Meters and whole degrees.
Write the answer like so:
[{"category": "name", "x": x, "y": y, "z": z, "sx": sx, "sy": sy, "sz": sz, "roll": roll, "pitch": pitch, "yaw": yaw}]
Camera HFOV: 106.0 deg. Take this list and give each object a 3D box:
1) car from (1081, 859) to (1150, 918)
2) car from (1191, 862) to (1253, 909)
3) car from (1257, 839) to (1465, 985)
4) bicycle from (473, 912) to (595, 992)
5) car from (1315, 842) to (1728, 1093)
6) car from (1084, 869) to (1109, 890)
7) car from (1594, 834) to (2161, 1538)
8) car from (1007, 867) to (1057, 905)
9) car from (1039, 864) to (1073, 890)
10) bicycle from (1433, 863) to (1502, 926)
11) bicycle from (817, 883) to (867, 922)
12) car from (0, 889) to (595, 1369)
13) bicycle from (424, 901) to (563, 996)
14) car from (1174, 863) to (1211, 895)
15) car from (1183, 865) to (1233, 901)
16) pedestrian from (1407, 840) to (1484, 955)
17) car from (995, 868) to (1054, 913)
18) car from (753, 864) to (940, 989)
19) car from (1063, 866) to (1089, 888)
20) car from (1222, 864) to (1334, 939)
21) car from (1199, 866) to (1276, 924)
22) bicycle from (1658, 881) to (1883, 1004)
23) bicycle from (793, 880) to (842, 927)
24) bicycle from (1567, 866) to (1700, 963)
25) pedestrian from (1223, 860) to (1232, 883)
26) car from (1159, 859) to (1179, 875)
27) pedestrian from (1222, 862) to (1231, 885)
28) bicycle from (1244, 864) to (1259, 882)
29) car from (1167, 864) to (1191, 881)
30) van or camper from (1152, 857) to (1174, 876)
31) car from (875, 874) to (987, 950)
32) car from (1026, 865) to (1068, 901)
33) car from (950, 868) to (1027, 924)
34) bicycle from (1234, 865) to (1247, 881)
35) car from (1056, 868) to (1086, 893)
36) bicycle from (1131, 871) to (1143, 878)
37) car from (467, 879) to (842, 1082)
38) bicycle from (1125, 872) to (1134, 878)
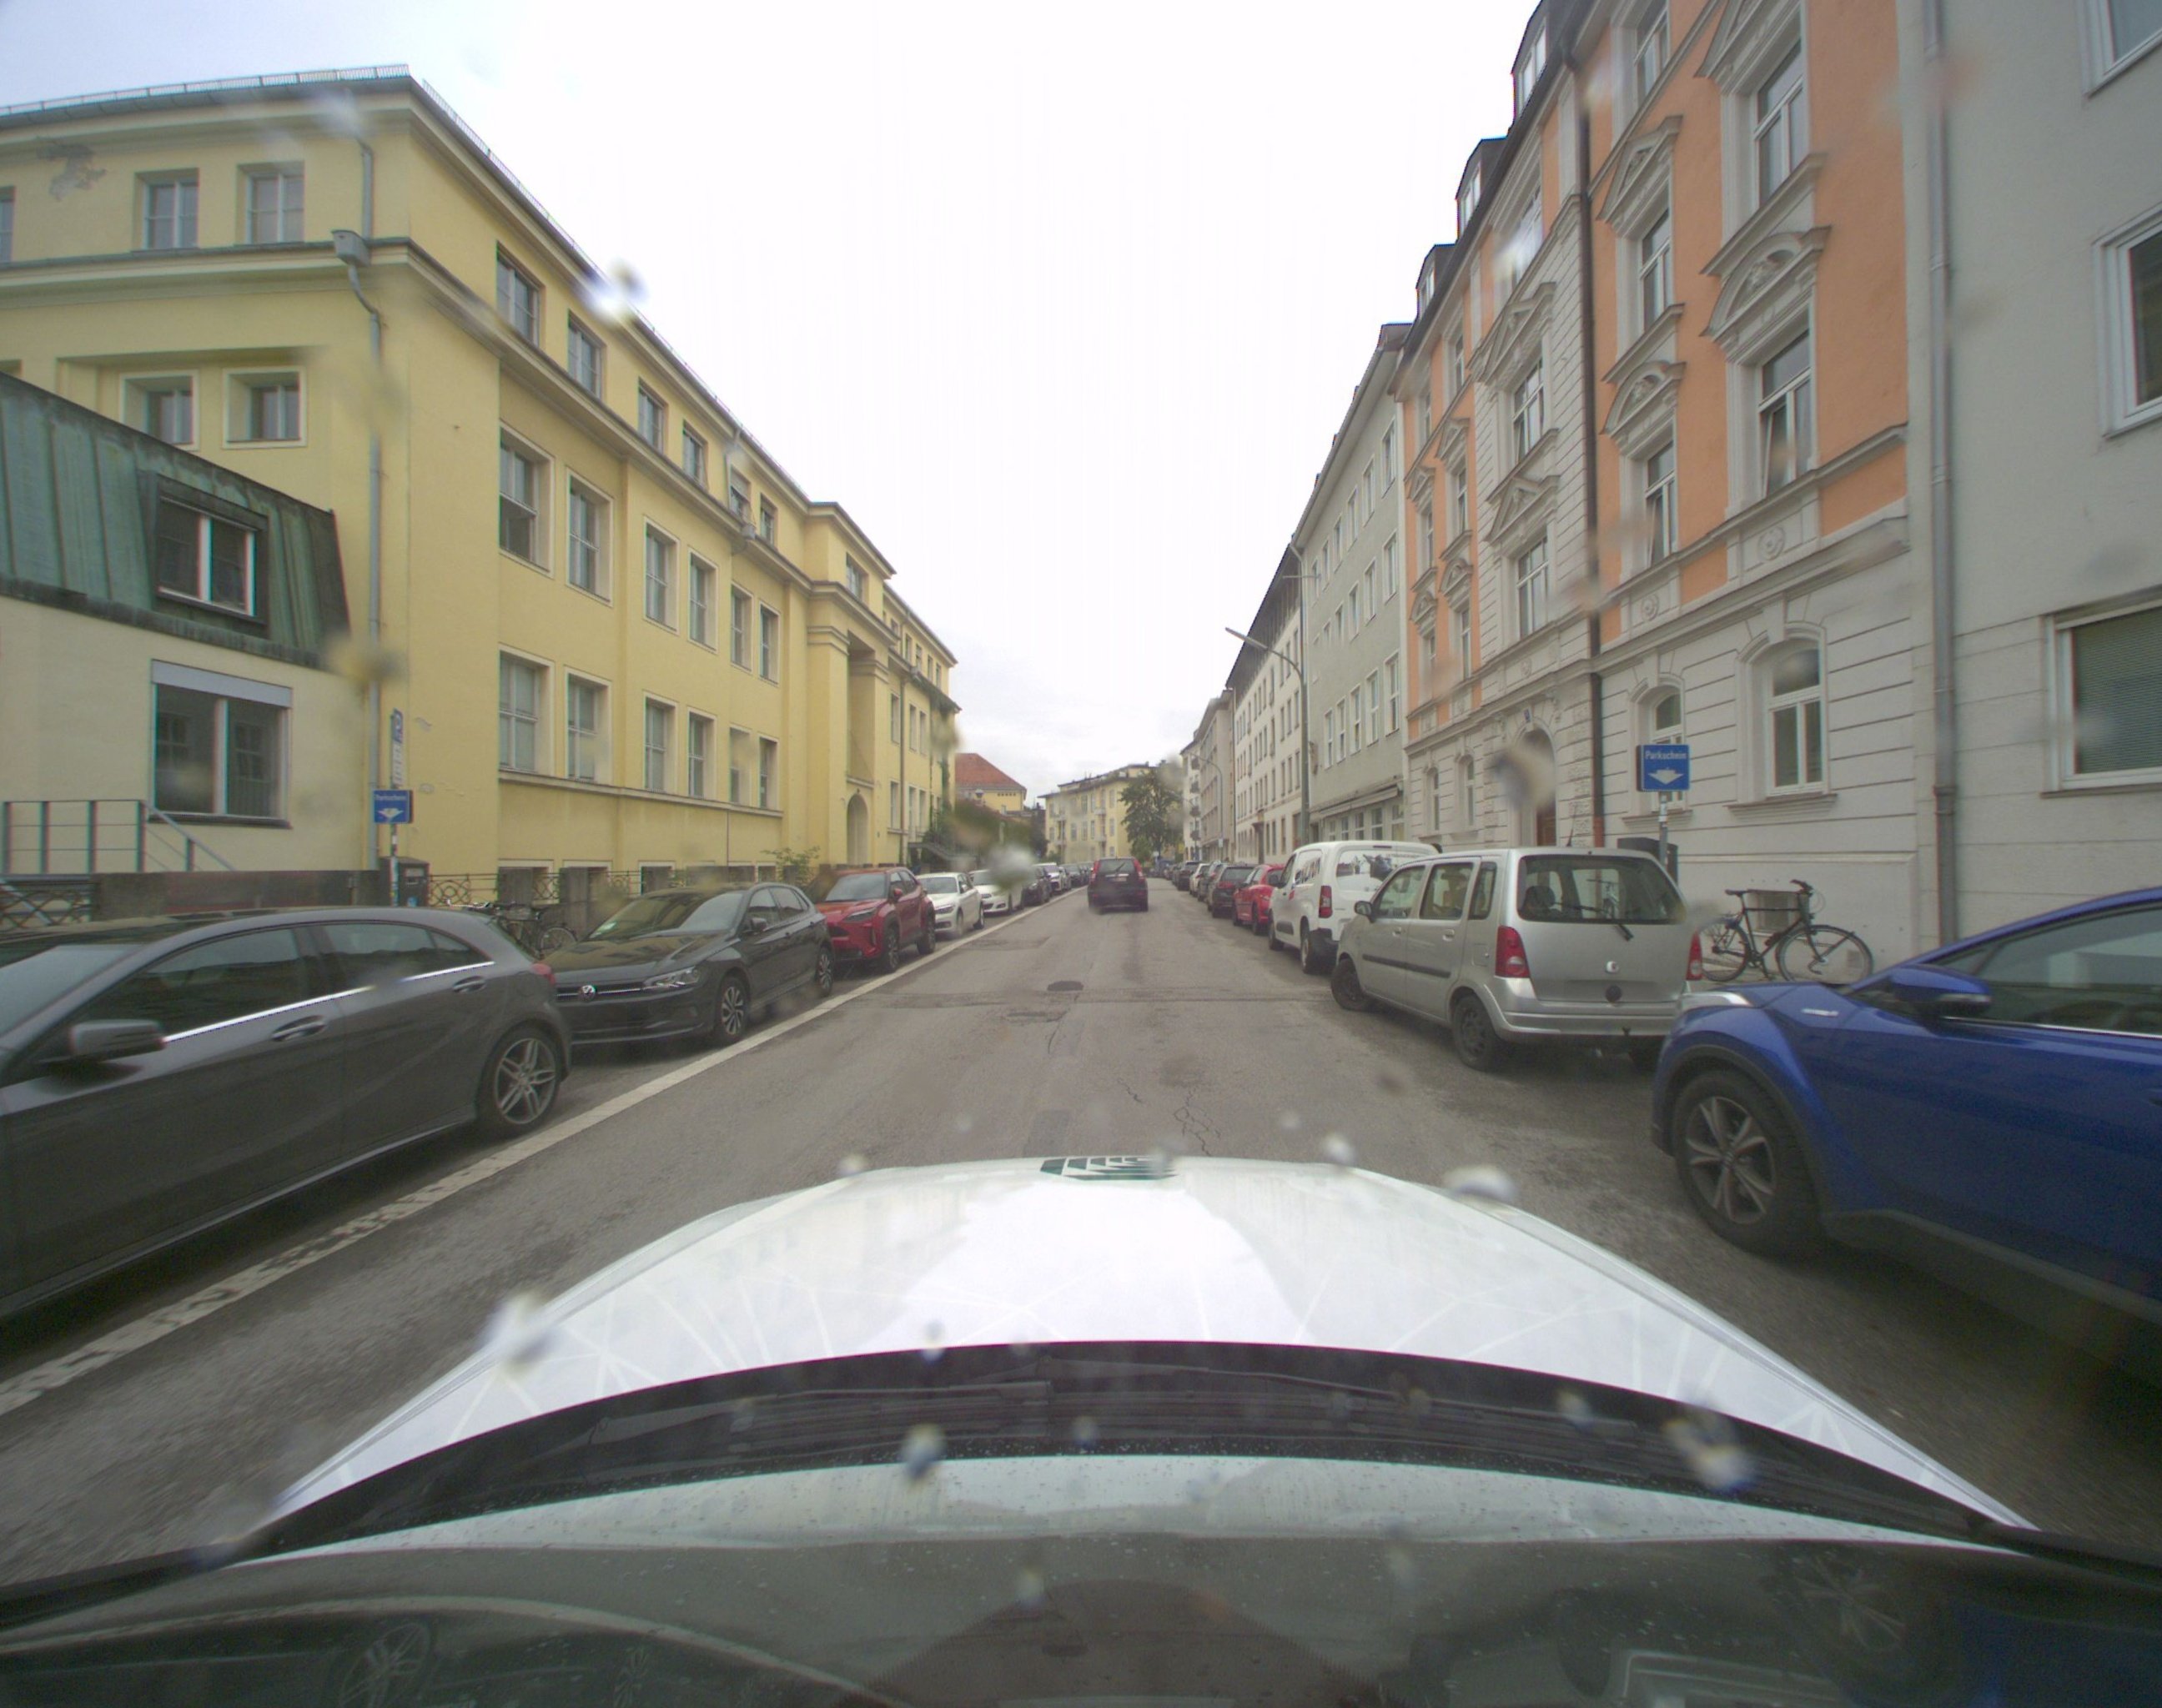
[{"category": "car", "x": 1.102, "y": 1.026, "z": 25.818, "sx": 1.987, "sy": 1.694, "sz": 4.382, "roll": -1, "pitch": -1, "yaw": 2}, {"category": "car", "x": 5.119, "y": 1.110, "z": 29.927, "sx": 1.686, "sy": 1.583, "sz": 4.085, "roll": 1, "pitch": -1, "yaw": 2}, {"category": "car", "x": 3.972, "y": 0.746, "z": 12.494, "sx": 1.832, "sy": 1.786, "sz": 4.900, "roll": -1, "pitch": -1, "yaw": 4}, {"category": "bicycle", "x": -8.130, "y": 1.424, "z": 12.197, "sx": 0.453, "sy": 0.995, "sz": 1.744, "roll": 1, "pitch": 0, "yaw": 7}, {"category": "car", "x": 3.461, "y": 0.790, "z": 7.217, "sx": 1.600, "sy": 1.642, "sz": 3.627, "roll": 1, "pitch": -1, "yaw": -2}, {"category": "car", "x": 1.522, "y": 2.377, "z": 76.510, "sx": 1.984, "sy": 1.875, "sz": 4.765, "roll": -2, "pitch": -1, "yaw": 5}, {"category": "car", "x": 3.325, "y": 0.764, "z": 1.942, "sx": 1.733, "sy": 1.588, "sz": 4.204, "roll": 1, "pitch": 0, "yaw": 3}, {"category": "car", "x": -2.145, "y": 1.399, "z": 36.823, "sx": 1.672, "sy": 1.505, "sz": 3.977, "roll": -4, "pitch": -1, "yaw": 4}, {"category": "car", "x": -1.390, "y": 1.313, "z": 47.168, "sx": 1.673, "sy": 1.426, "sz": 3.896, "roll": -1, "pitch": -1, "yaw": 2}, {"category": "bicycle", "x": 8.261, "y": 0.829, "z": 17.498, "sx": 0.648, "sy": 1.183, "sz": 2.099, "roll": -3, "pitch": 1, "yaw": 6}, {"category": "bicycle", "x": -7.177, "y": 1.429, "z": 24.567, "sx": 0.581, "sy": 1.077, "sz": 1.724, "roll": 1, "pitch": -1, "yaw": 16}, {"category": "car", "x": -4.274, "y": 0.976, "z": 3.424, "sx": 1.787, "sy": 1.405, "sz": 4.129, "roll": -4, "pitch": -1, "yaw": 2}, {"category": "bicycle", "x": -8.588, "y": 1.339, "z": 12.025, "sx": 0.421, "sy": 1.172, "sz": 1.942, "roll": 1, "pitch": 0, "yaw": 7}, {"category": "car", "x": 5.756, "y": 1.279, "z": 42.542, "sx": 1.769, "sy": 1.584, "sz": 4.337, "roll": -1, "pitch": -1, "yaw": 6}, {"category": "car", "x": 5.566, "y": 1.228, "z": 36.034, "sx": 1.686, "sy": 1.464, "sz": 4.085, "roll": 1, "pitch": -1, "yaw": 2}, {"category": "pedestrian", "x": 5.440, "y": 0.643, "z": 12.198, "sx": 0.857, "sy": 1.662, "sz": 0.648, "roll": -1, "pitch": -1, "yaw": 3}, {"category": "car", "x": -2.134, "y": 1.363, "z": 31.693, "sx": 1.672, "sy": 1.495, "sz": 3.989, "roll": -4, "pitch": -1, "yaw": 4}, {"category": "car", "x": -3.523, "y": 1.007, "z": 13.014, "sx": 1.669, "sy": 1.566, "sz": 3.997, "roll": -4, "pitch": -1, "yaw": 1}, {"category": "car", "x": -0.328, "y": 1.703, "z": 60.484, "sx": 1.775, "sy": 1.538, "sz": 4.151, "roll": -1, "pitch": -1, "yaw": 2}, {"category": "car", "x": 4.268, "y": 0.984, "z": 18.256, "sx": 1.592, "sy": 1.451, "sz": 4.303, "roll": -1, "pitch": -1, "yaw": 2}, {"category": "car", "x": 4.320, "y": 1.080, "z": 22.983, "sx": 1.684, "sy": 1.451, "sz": 4.088, "roll": 1, "pitch": -1, "yaw": 5}, {"category": "bicycle", "x": 7.177, "y": 0.864, "z": 8.634, "sx": 0.665, "sy": 1.121, "sz": 1.953, "roll": 0, "pitch": -1, "yaw": -2}, {"category": "bicycle", "x": -7.324, "y": 1.358, "z": 22.724, "sx": 0.582, "sy": 1.198, "sz": 1.720, "roll": 1, "pitch": -1, "yaw": 7}, {"category": "bicycle", "x": 7.863, "y": 0.813, "z": 11.716, "sx": 0.648, "sy": 1.183, "sz": 2.099, "roll": -3, "pitch": 1, "yaw": 6}, {"category": "pedestrian", "x": 10.488, "y": 1.266, "z": 58.251, "sx": 0.594, "sy": 1.654, "sz": 0.631, "roll": -1, "pitch": -1, "yaw": 4}, {"category": "car", "x": 10.300, "y": 1.469, "z": 95.492, "sx": 1.957, "sy": 1.816, "sz": 4.937, "roll": -1, "pitch": -1, "yaw": 2}, {"category": "pedestrian", "x": 10.000, "y": 1.352, "z": 55.937, "sx": 0.529, "sy": 1.585, "sz": 0.561, "roll": -1, "pitch": -1, "yaw": 4}, {"category": "bicycle", "x": 11.503, "y": 1.285, "z": 54.949, "sx": 0.656, "sy": 1.126, "sz": 2.030, "roll": -2, "pitch": -1, "yaw": 4}, {"category": "car", "x": 8.856, "y": 1.634, "z": 73.855, "sx": 1.789, "sy": 1.420, "sz": 4.485, "roll": -1, "pitch": -1, "yaw": 3}, {"category": "van or camper", "x": 10.159, "y": 1.522, "z": 100.917, "sx": 2.055, "sy": 2.231, "sz": 5.434, "roll": -1, "pitch": -1, "yaw": -2}, {"category": "car", "x": -3.293, "y": 1.229, "z": 18.623, "sx": 1.669, "sy": 1.398, "sz": 3.997, "roll": -4, "pitch": -1, "yaw": 1}, {"category": "car", "x": -1.685, "y": 1.416, "z": 41.474, "sx": 1.673, "sy": 1.634, "sz": 4.359, "roll": -4, "pitch": -1, "yaw": 2}, {"category": "car", "x": -2.883, "y": 1.275, "z": 26.154, "sx": 1.716, "sy": 1.527, "sz": 4.090, "roll": -4, "pitch": -1, "yaw": 3}, {"category": "bicycle", "x": 12.167, "y": 1.461, "z": 62.182, "sx": 0.656, "sy": 1.163, "sz": 2.030, "roll": -2, "pitch": -1, "yaw": 4}, {"category": "car", "x": -0.607, "y": 1.767, "z": 54.649, "sx": 1.775, "sy": 1.538, "sz": 4.197, "roll": -1, "pitch": -1, "yaw": 2}, {"category": "bicycle", "x": 9.568, "y": 3.489, "z": 139.011, "sx": 0.614, "sy": 1.117, "sz": 2.190, "roll": 1, "pitch": -2, "yaw": -45}, {"category": "car", "x": -3.916, "y": 1.044, "z": 8.356, "sx": 1.669, "sy": 1.405, "sz": 3.989, "roll": -4, "pitch": -1, "yaw": 0}, {"category": "bicycle", "x": 8.372, "y": 3.603, "z": 141.095, "sx": 0.610, "sy": 1.072, "sz": 2.202, "roll": -1, "pitch": -1, "yaw": -19}]
